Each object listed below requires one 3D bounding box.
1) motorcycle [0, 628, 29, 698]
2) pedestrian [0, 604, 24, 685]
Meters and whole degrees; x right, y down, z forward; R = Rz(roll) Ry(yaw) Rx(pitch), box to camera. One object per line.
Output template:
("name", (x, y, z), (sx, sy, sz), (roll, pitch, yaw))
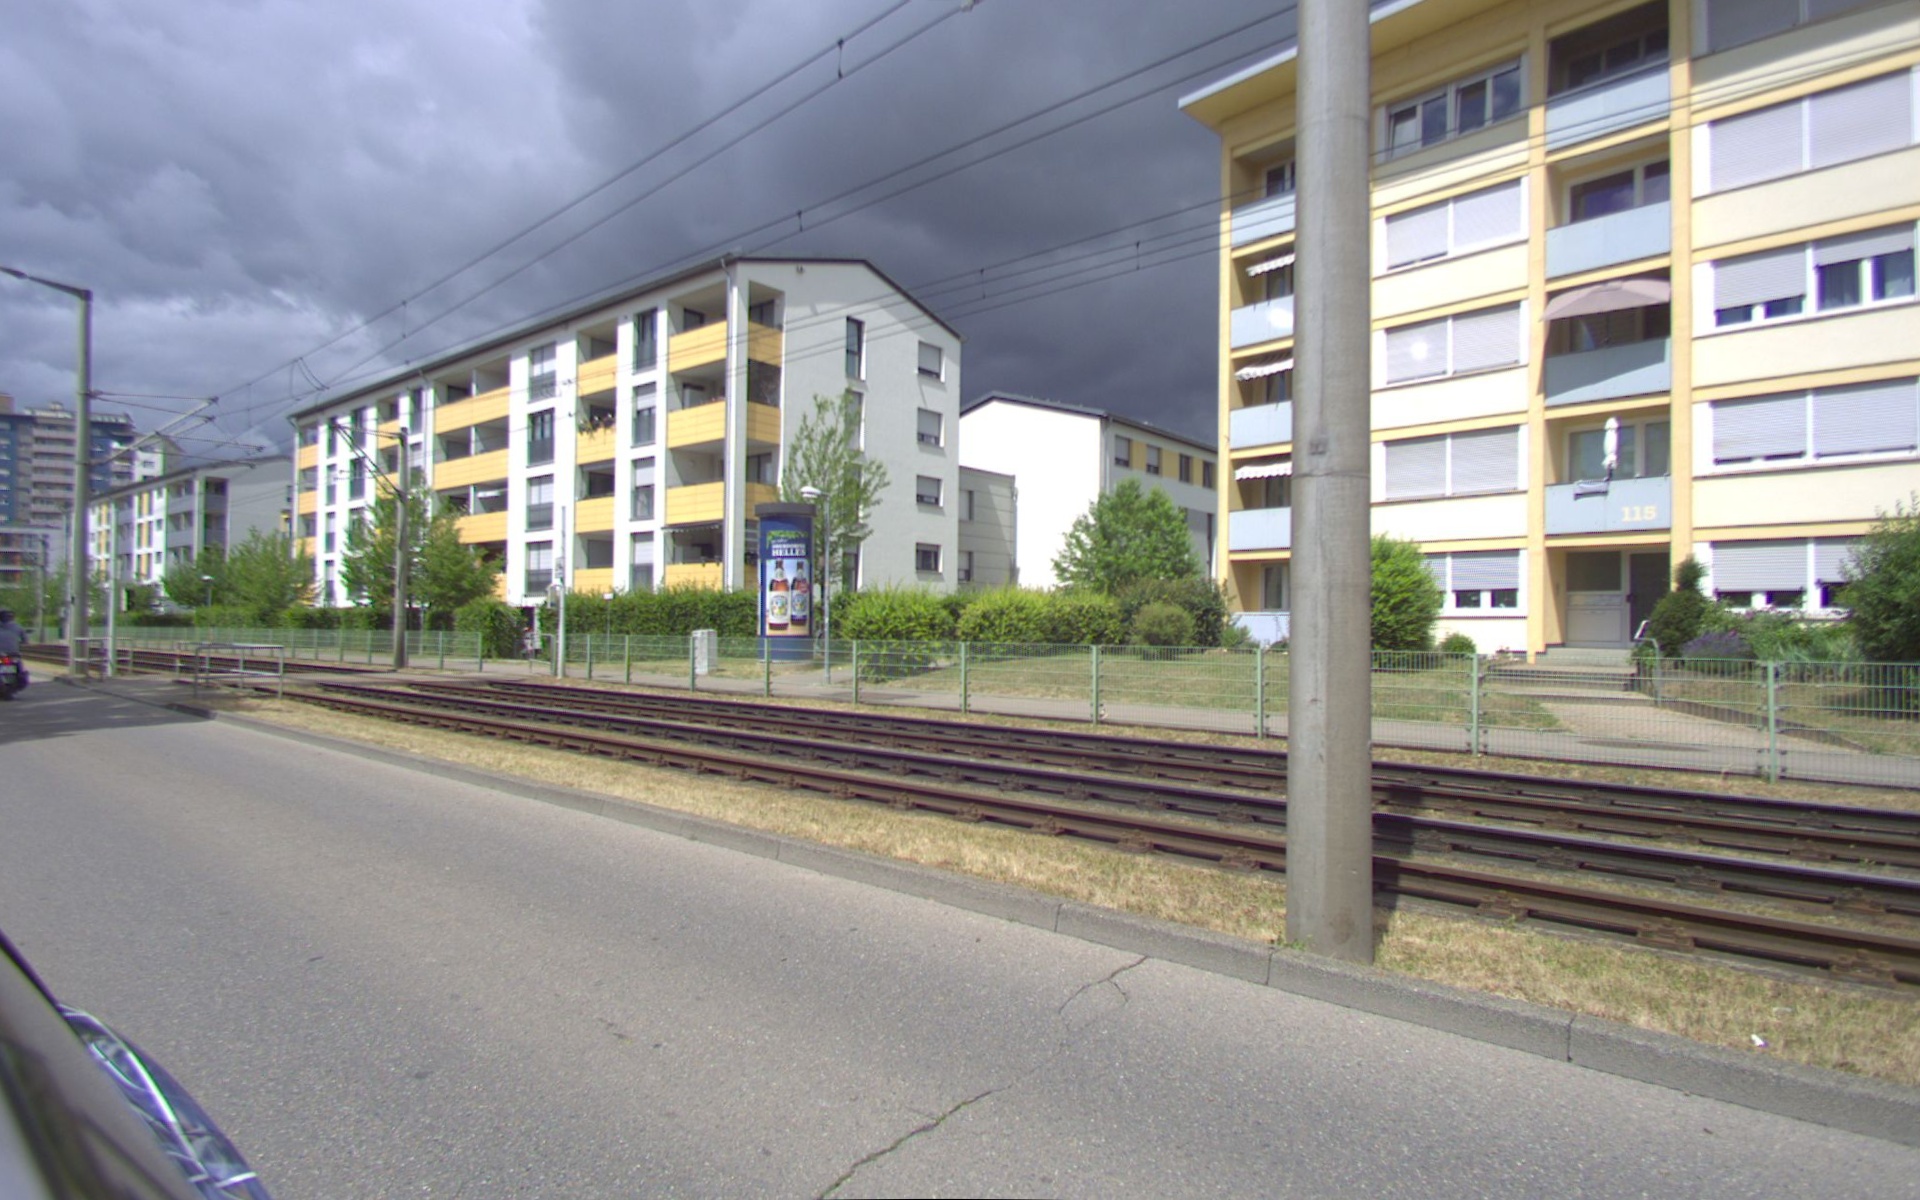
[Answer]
("motorcycle", (-17.433, 1.119, 18.222), (1.868, 1.197, 0.773), (-1, -1, 41))
("pedestrian", (-17.398, 0.801, 18.181), (0.926, 1.427, 0.728), (-1, 0, 40))
